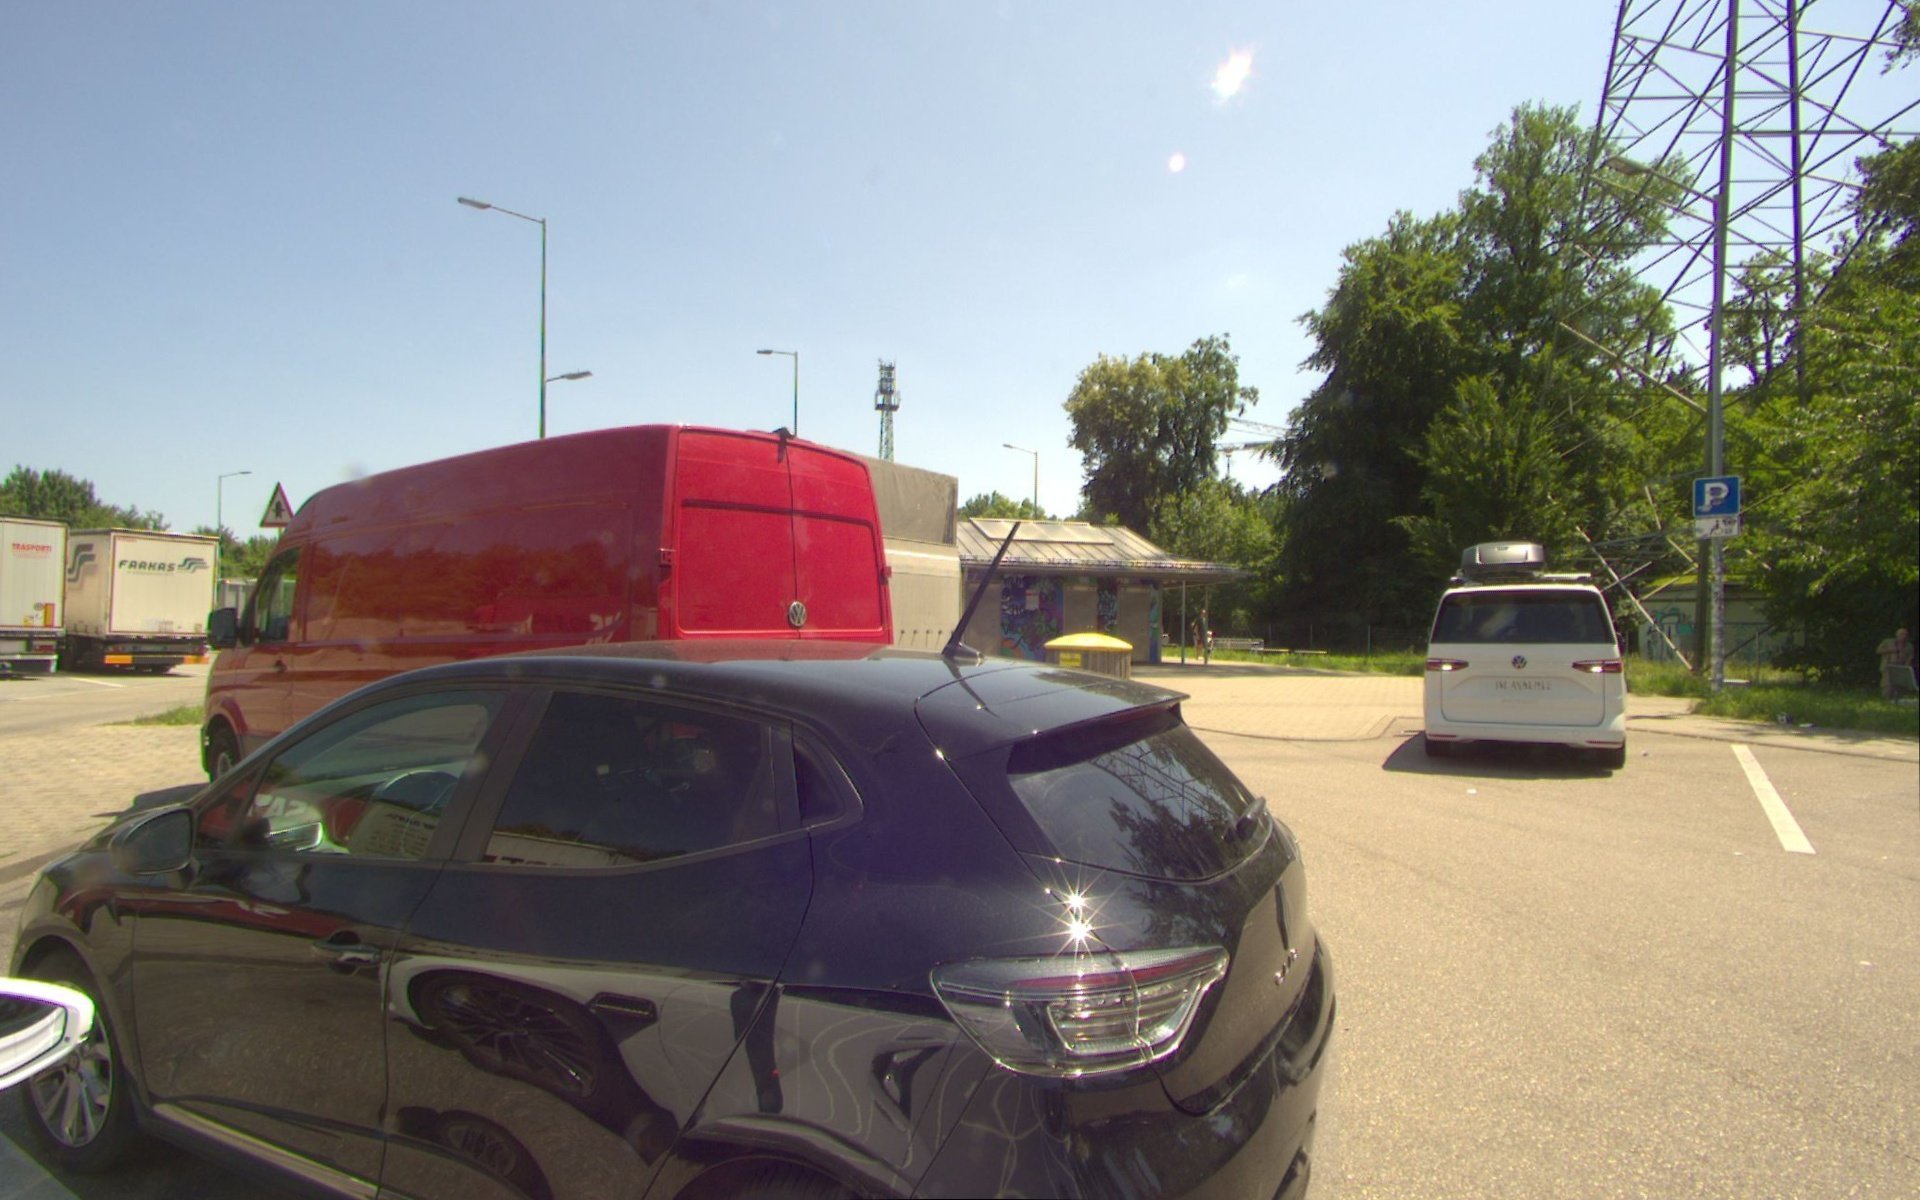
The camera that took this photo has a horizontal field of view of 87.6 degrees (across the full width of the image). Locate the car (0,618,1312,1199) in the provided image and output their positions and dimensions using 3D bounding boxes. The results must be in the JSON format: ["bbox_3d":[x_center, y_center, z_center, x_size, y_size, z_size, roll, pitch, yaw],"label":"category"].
[{"bbox_3d":[-1.068,0.835,2.923,3.757,1.501,1.736,0,-1,27],"label":"car"}]

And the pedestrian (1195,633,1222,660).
[{"bbox_3d":[8.853,1.666,35.688,0.763,0.960,0.646,0,-1,-1],"label":"pedestrian"}]

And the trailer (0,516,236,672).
[{"bbox_3d":[-27.668,-0.189,31.645,13.523,4.185,2.835,1,-2,33],"label":"trailer"}]

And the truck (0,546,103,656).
[{"bbox_3d":[-32.898,0.046,35.018,5.403,3.528,2.849,1,-2,32],"label":"truck"}]

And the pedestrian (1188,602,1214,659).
[{"bbox_3d":[8.874,1.133,36.847,0.763,2.067,0.646,0,-1,-1],"label":"pedestrian"}]

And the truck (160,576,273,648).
[{"bbox_3d":[-37.704,0.573,50.754,5.405,3.407,2.847,1,-2,34],"label":"truck"}]

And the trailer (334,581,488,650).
[{"bbox_3d":[-36.060,0.924,65.448,13.530,4.101,2.834,1,-2,34],"label":"trailer"}]

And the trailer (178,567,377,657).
[{"bbox_3d":[-32.395,0.489,47.155,13.530,3.764,2.834,1,-2,34],"label":"trailer"}]

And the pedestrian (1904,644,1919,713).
[{"bbox_3d":[17.183,1.363,17.495,0.876,1.192,0.666,-1,-2,32],"label":"pedestrian"}]

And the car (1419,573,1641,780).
[{"bbox_3d":[6.516,0.774,11.860,1.881,1.937,4.549,-1,-1,26],"label":"car"}]

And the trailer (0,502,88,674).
[{"bbox_3d":[-28.976,-0.369,28.164,13.523,4.185,2.835,1,-2,33],"label":"trailer"}]

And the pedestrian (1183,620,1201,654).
[{"bbox_3d":[10.560,1.673,45.637,0.634,1.547,0.565,0,-1,-11],"label":"pedestrian"}]

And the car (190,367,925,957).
[{"bbox_3d":[-3.360,0.311,7.375,6.310,2.731,2.060,0,-1,37],"label":"car"}]

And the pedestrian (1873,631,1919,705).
[{"bbox_3d":[18.573,1.330,19.796,0.660,1.422,0.647,-1,-1,33],"label":"pedestrian"}]
